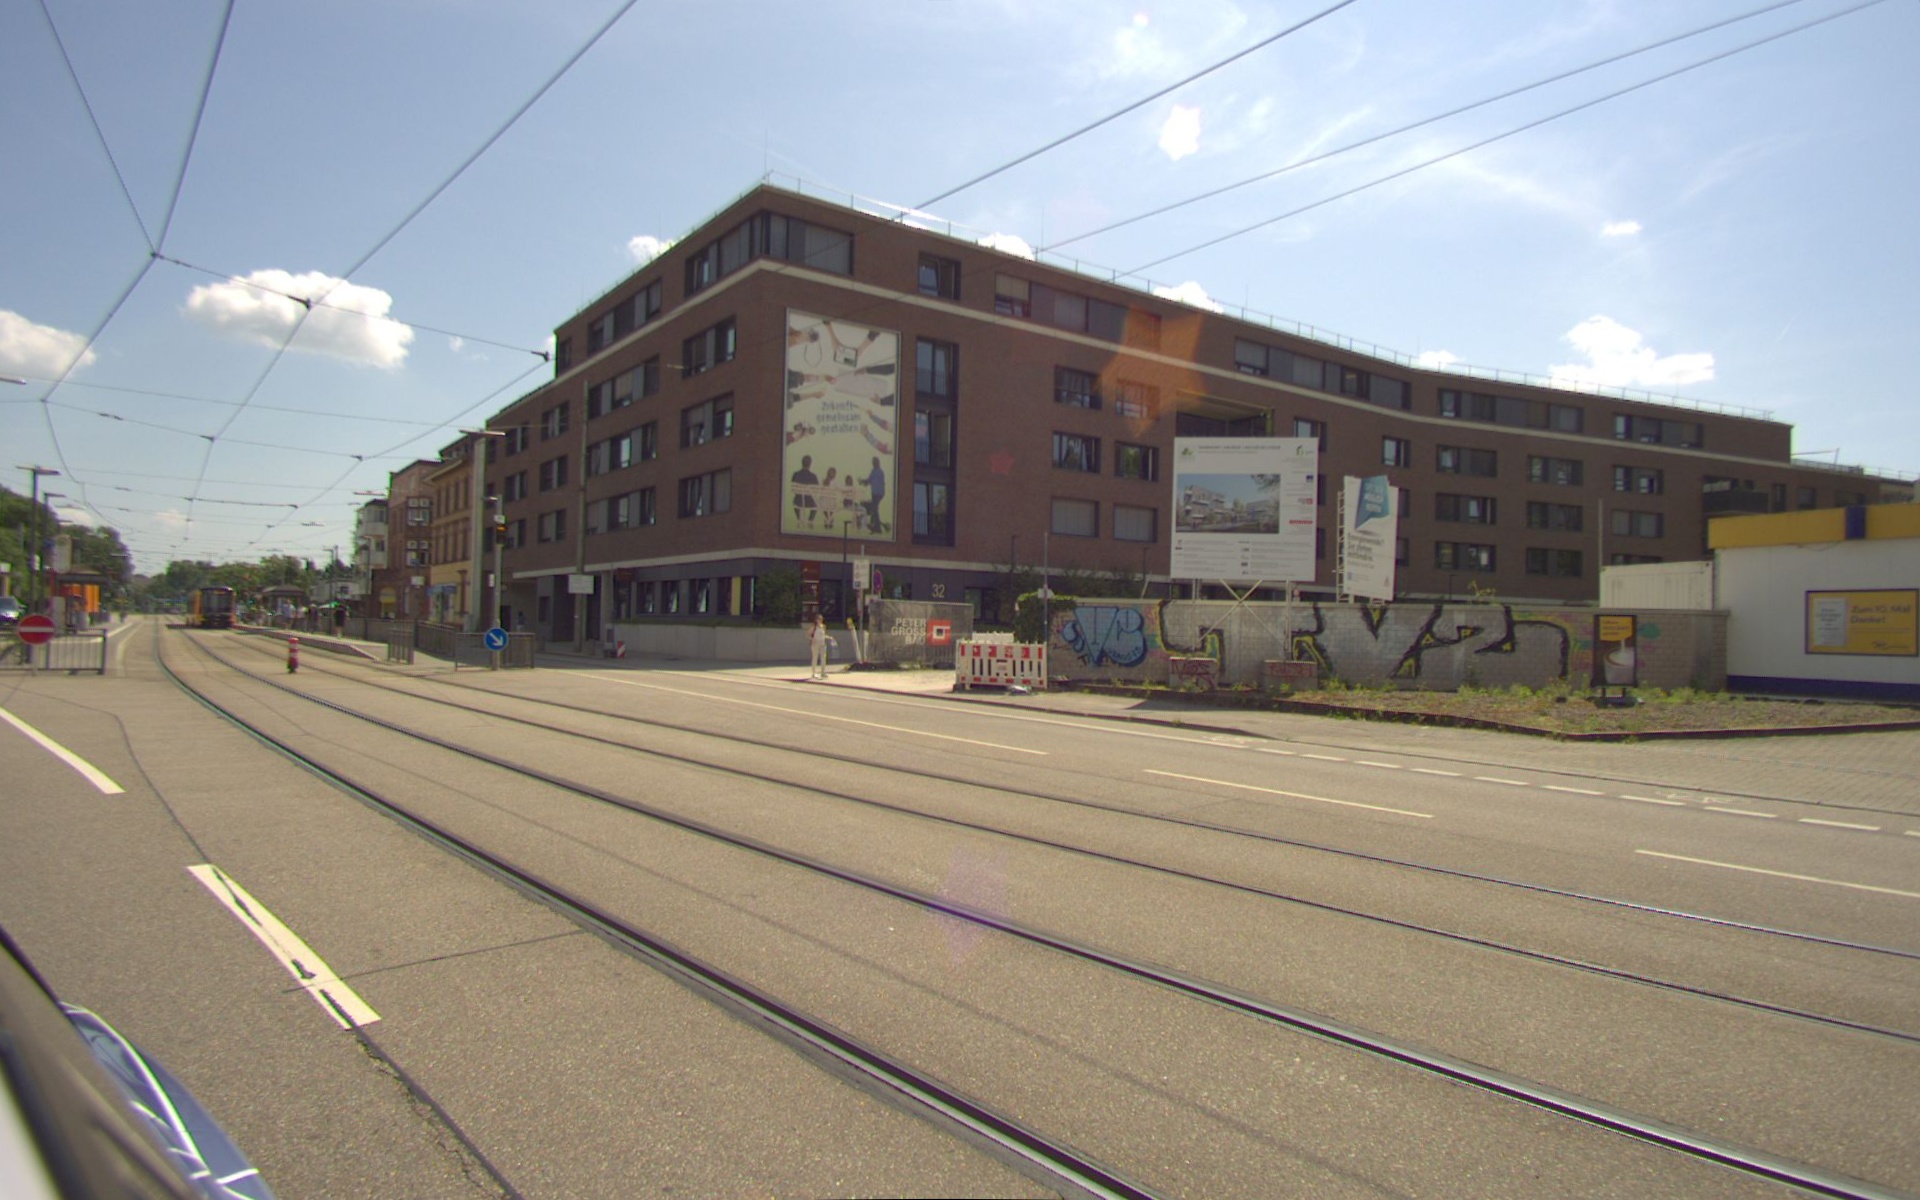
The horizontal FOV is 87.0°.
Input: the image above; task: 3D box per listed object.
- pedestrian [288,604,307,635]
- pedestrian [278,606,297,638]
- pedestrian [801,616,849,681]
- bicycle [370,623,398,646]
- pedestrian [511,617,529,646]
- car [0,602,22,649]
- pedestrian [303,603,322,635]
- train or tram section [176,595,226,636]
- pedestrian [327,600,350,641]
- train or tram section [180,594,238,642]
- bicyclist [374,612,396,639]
[{"bbox_3d":[-37.585,1.095,57.441,0.750,1.708,0.810,4,-3,-40],"label":"pedestrian"},{"bbox_3d":[-38.186,1.260,57.454,0.750,1.813,0.953,4,-3,-40],"label":"pedestrian"},{"bbox_3d":[-3.522,1.245,26.380,0.751,1.608,1.001,-2,1,-44],"label":"pedestrian"},{"bbox_3d":[-32.463,1.947,57.050,0.807,1.232,2.392,4,-3,-42],"label":"bicycle"},{"bbox_3d":[-24.503,1.769,56.371,0.676,1.608,0.762,4,-3,-40],"label":"pedestrian"},{"bbox_3d":[-43.242,1.092,44.965,1.968,2.029,4.007,3,-2,-39],"label":"car"},{"bbox_3d":[-33.782,0.982,52.773,0.676,1.608,0.762,4,-3,-40],"label":"pedestrian"},{"bbox_3d":[-75.240,1.509,100.082,3.209,3.594,20.540,3,-2,-39],"label":"train or tram section"},{"bbox_3d":[-27.612,0.895,44.971,0.676,1.773,1.035,4,-3,-40],"label":"pedestrian"},{"bbox_3d":[-63.698,1.484,85.637,3.193,3.594,16.380,3,-2,-39],"label":"train or tram section"},{"bbox_3d":[-32.451,1.450,57.101,0.749,1.516,1.066,3,-3,-45],"label":"bicyclist"}]
